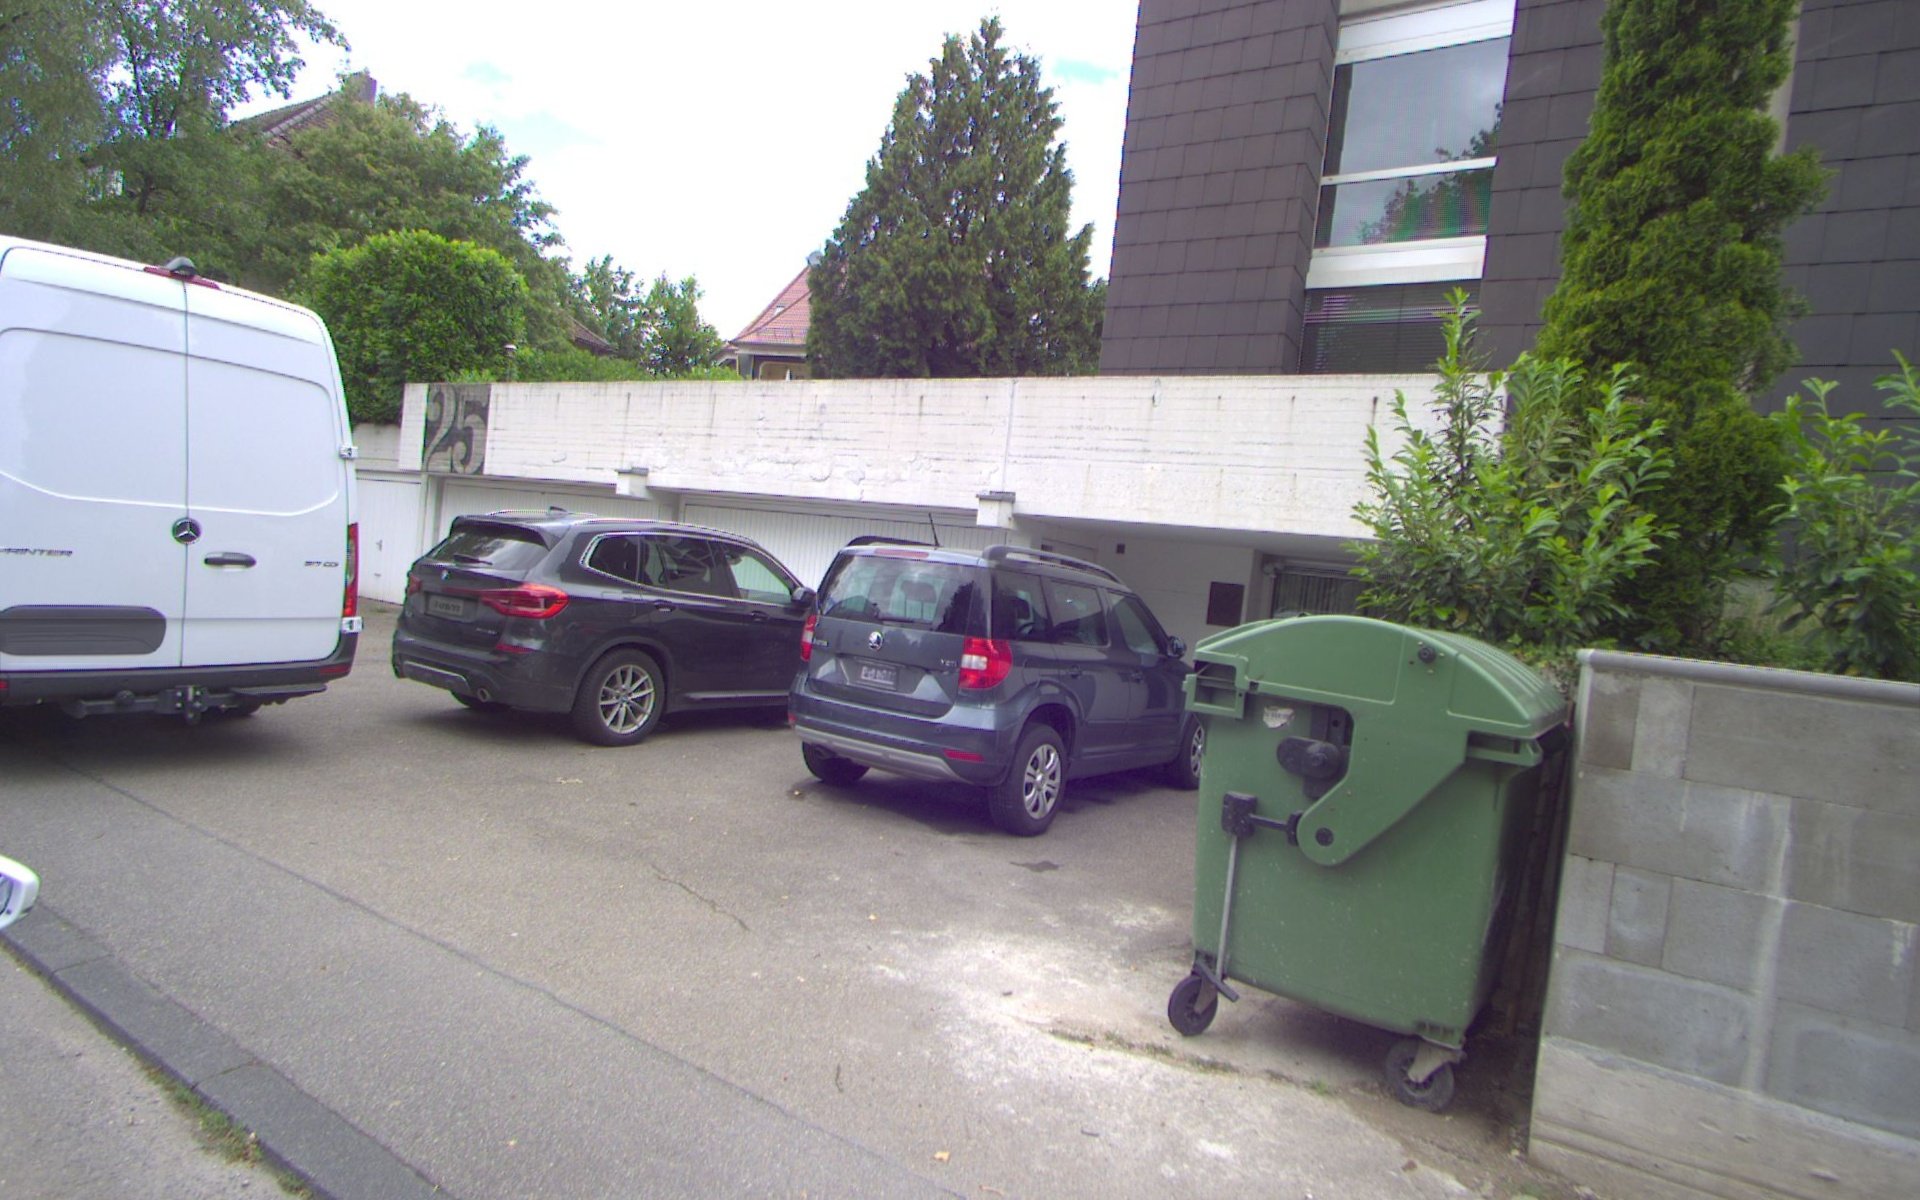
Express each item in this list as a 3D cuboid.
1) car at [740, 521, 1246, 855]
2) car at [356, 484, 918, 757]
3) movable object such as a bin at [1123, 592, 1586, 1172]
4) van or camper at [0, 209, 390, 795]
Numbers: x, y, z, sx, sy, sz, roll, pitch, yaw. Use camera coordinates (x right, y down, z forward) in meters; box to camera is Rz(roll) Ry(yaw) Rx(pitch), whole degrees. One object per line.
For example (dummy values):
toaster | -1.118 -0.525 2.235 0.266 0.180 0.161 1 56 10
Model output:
car | 0.495 0.515 7.374 1.801 1.674 3.796 7 2 35
car | -2.428 0.169 8.703 1.800 1.674 4.394 7 2 33
movable object such as a bin | 1.431 0.780 3.546 1.161 1.470 1.300 6 2 31
van or camper | -6.659 -0.719 6.833 6.252 2.664 1.963 7 4 31
